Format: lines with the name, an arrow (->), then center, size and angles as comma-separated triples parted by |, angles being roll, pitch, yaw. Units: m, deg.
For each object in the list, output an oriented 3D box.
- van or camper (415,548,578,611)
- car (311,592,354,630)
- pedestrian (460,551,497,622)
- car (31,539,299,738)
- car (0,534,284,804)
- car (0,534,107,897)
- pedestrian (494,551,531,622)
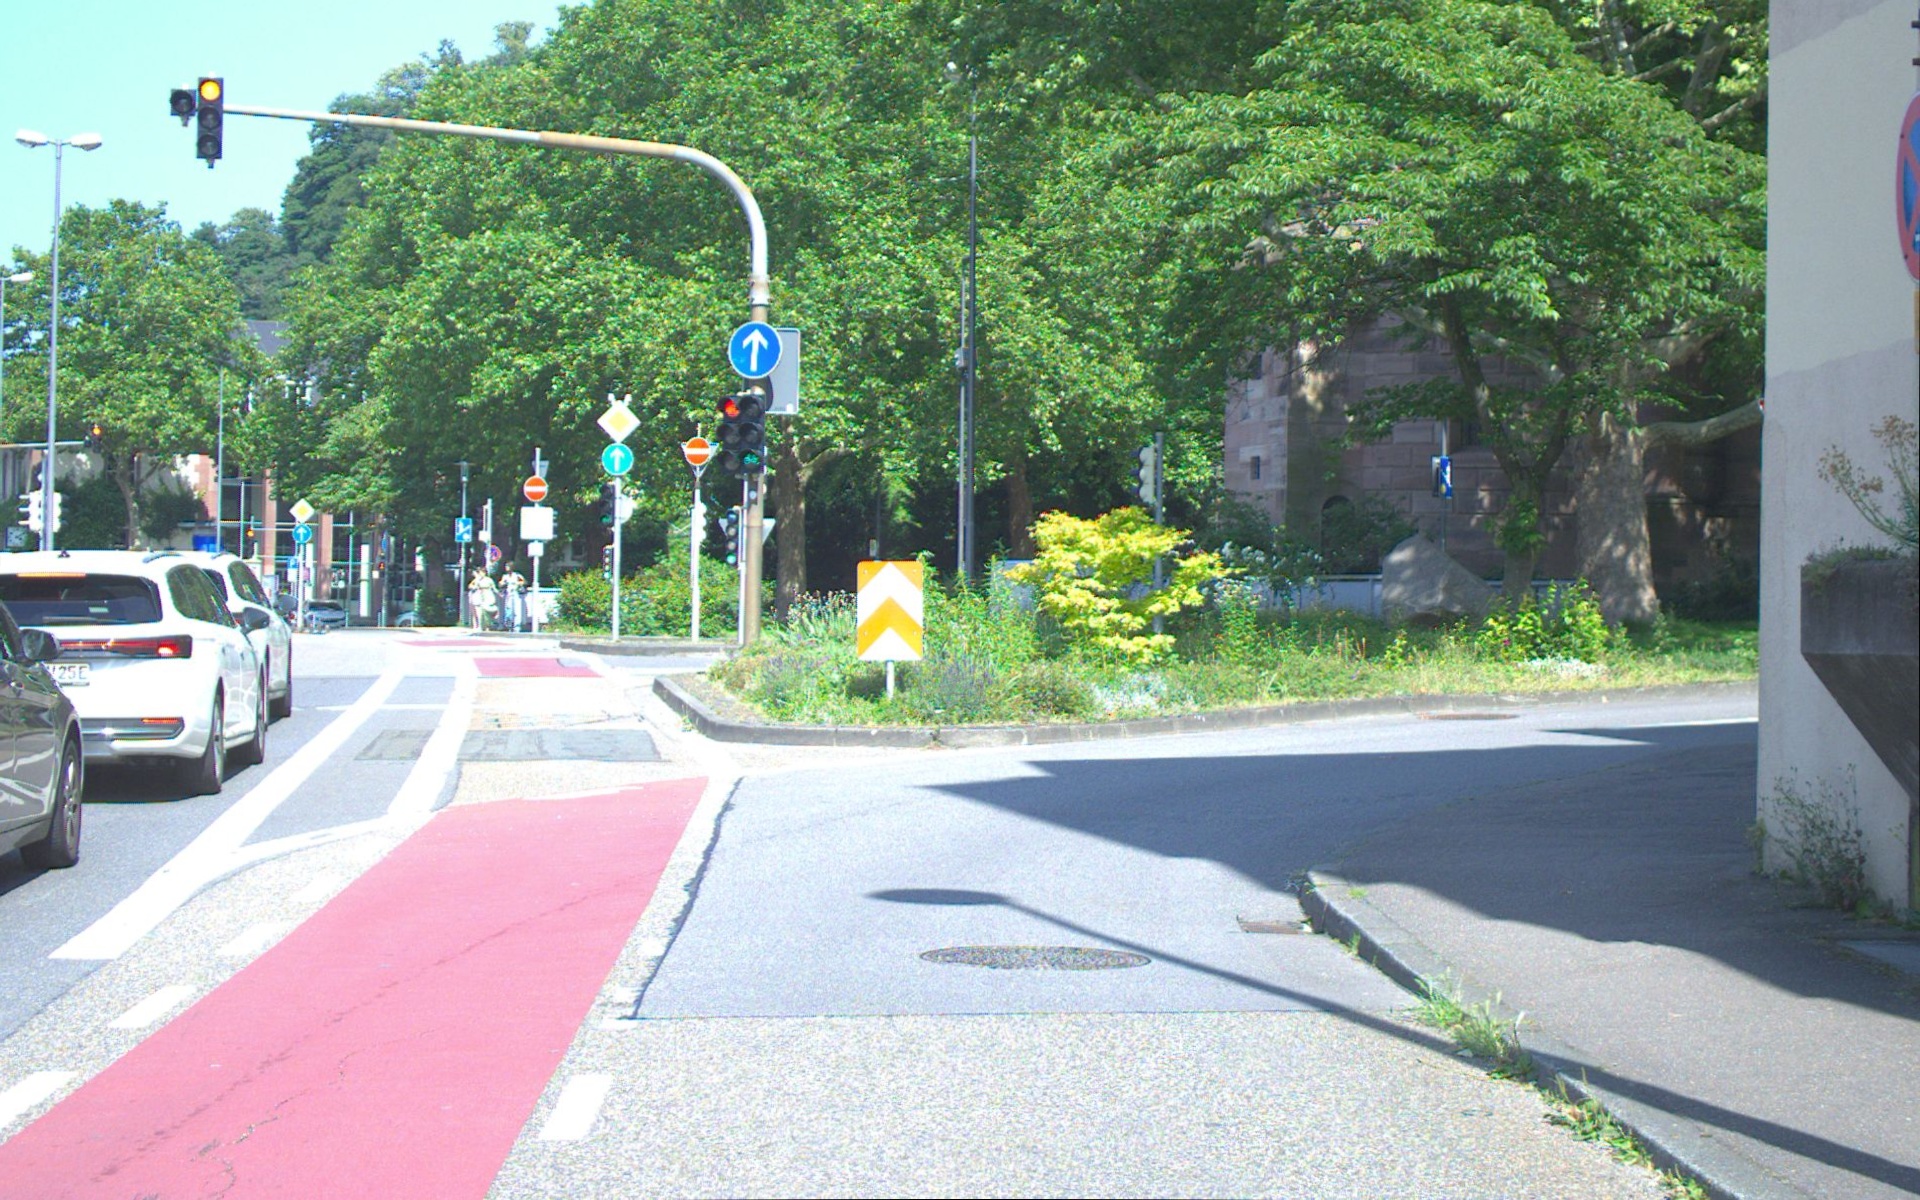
van or camper -> -14.173, -0.620, 105.219 | 4.544, 1.895, 1.999 | 0, 1, 12
car -> -25.916, 0.452, 141.918 | 1.730, 1.509, 3.623 | 0, 1, -10
pedestrian -> -11.696, -0.341, 83.521 | 0.761, 1.713, 0.795 | 0, 1, 1
car -> -6.607, 0.270, 28.978 | 1.785, 1.527, 4.738 | 0, 1, -8
car -> -5.583, 0.348, 22.007 | 1.993, 1.528, 4.860 | 0, 1, -6
car -> -4.977, 0.470, 14.705 | 1.888, 1.516, 4.306 | 0, 1, -5
pedestrian -> -10.856, -0.338, 83.363 | 0.761, 1.703, 0.878 | 0, 1, 1
